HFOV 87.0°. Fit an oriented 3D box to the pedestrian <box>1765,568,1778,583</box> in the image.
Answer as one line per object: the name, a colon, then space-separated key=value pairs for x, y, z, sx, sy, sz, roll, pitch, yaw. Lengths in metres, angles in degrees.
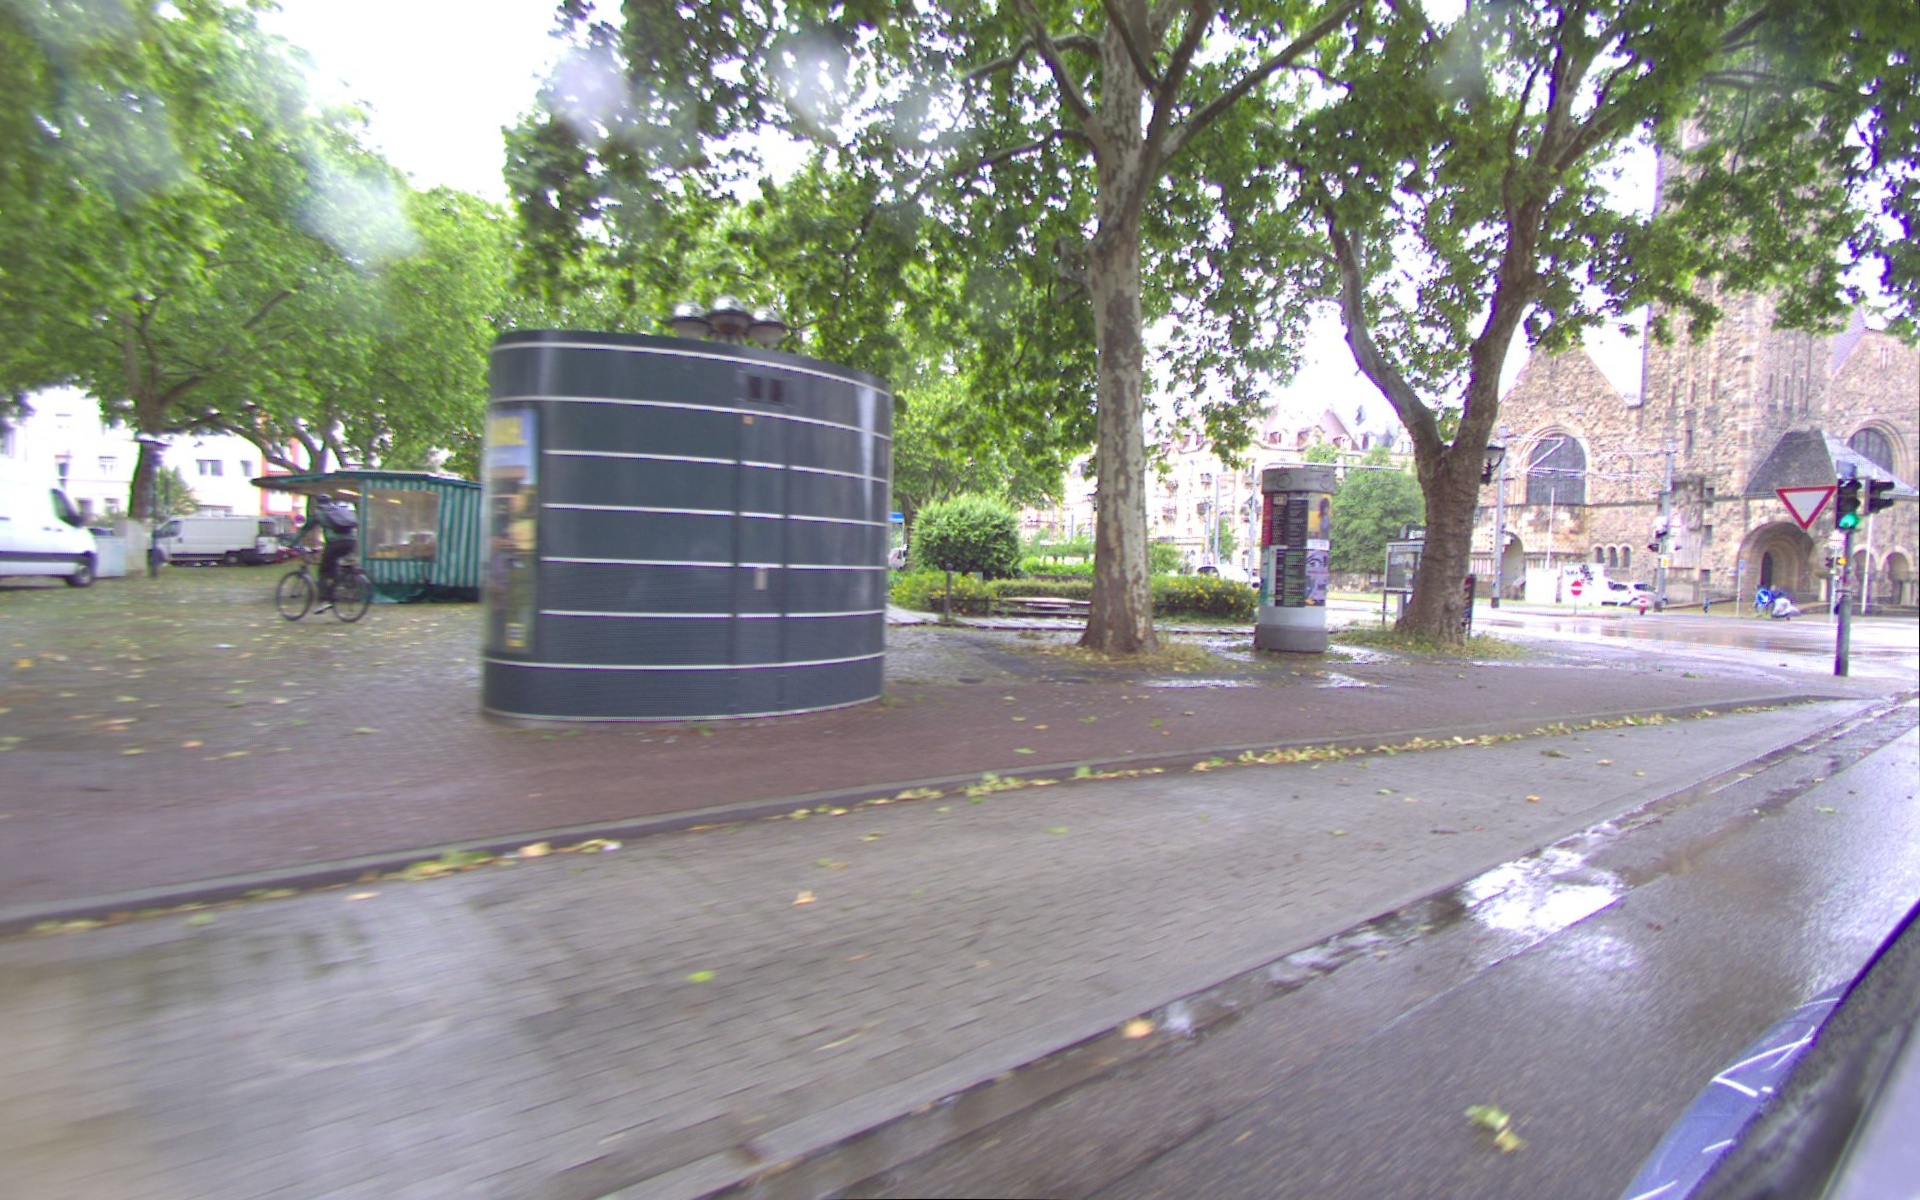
pedestrian: x=49.586 y=-1.480 z=61.806 sx=0.447 sy=0.895 sz=0.397 roll=2 pitch=2 yaw=-17

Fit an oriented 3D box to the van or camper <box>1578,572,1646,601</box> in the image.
van or camper: x=42.604 y=-0.905 z=66.146 sx=3.848 sy=1.748 sz=1.653 roll=-2 pitch=3 yaw=-16

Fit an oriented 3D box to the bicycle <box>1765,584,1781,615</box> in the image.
bicycle: x=40.121 y=-0.024 z=49.943 sx=0.531 sy=1.484 sz=1.912 roll=4 pitch=2 yaw=40

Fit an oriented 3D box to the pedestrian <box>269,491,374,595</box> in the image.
pedestrian: x=-9.183 y=-0.816 z=14.587 sx=1.027 sy=1.415 sz=0.747 roll=2 pitch=2 yaw=1

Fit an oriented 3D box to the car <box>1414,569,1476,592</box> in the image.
car: x=37.627 y=-1.527 z=78.501 sx=3.915 sy=1.638 sz=2.005 roll=1 pitch=2 yaw=-16

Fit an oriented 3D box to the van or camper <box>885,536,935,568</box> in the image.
van or camper: x=-3.333 y=-3.149 z=66.634 sx=1.958 sy=1.938 sz=4.683 roll=2 pitch=2 yaw=-20

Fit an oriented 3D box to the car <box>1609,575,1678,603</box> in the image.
car: x=42.206 y=-0.693 z=62.498 sx=3.288 sy=1.593 sz=1.741 roll=-2 pitch=3 yaw=-13

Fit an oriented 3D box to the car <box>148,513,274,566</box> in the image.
car: x=-32.187 y=-2.606 z=43.593 sx=4.012 sy=2.230 sz=1.558 roll=-1 pitch=3 yaw=-15

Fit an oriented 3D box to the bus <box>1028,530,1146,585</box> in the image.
bus: x=7.982 y=-2.806 z=66.272 sx=2.832 sy=3.151 sz=12.133 roll=2 pitch=2 yaw=-17

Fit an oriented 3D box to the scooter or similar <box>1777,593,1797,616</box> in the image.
scooter or similar: x=39.894 y=0.223 z=48.805 sx=0.907 sy=1.061 sz=0.515 roll=1 pitch=2 yaw=-38

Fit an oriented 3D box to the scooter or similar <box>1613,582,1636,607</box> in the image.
scooter or similar: x=38.025 y=-0.333 z=57.900 sx=0.280 sy=1.404 sz=1.106 roll=2 pitch=2 yaw=-17

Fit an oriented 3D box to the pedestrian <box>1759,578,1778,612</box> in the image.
pedestrian: x=41.842 y=-0.269 z=52.386 sx=0.675 sy=1.724 sz=0.625 roll=4 pitch=2 yaw=40

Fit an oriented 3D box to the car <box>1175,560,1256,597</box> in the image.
car: x=12.610 y=-1.110 z=50.213 sx=1.754 sy=1.619 sz=4.567 roll=2 pitch=2 yaw=-17

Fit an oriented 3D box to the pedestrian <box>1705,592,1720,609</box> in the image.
pedestrian: x=41.652 y=0.042 z=56.021 sx=0.388 sy=0.895 sz=0.457 roll=1 pitch=2 yaw=-20

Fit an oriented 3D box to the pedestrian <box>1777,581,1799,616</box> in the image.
pedestrian: x=40.404 y=-0.079 z=49.405 sx=0.676 sy=1.684 sz=0.605 roll=1 pitch=2 yaw=-37

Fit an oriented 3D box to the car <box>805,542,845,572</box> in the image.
car: x=-8.781 y=-2.816 z=65.589 sx=1.702 sy=1.800 sz=4.272 roll=1 pitch=3 yaw=-19

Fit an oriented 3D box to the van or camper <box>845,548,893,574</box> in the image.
van or camper: x=-5.975 y=-2.571 z=66.105 sx=1.958 sy=1.618 sz=4.683 roll=2 pitch=2 yaw=-20

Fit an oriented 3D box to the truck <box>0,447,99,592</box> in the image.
truck: x=-19.386 y=-1.562 z=19.333 sx=2.220 sy=2.732 sz=6.417 roll=1 pitch=3 yaw=-18

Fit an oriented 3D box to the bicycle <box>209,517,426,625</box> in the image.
bicycle: x=-9.235 y=-0.429 z=14.607 sx=2.656 sy=1.394 sz=0.752 roll=3 pitch=2 yaw=1
